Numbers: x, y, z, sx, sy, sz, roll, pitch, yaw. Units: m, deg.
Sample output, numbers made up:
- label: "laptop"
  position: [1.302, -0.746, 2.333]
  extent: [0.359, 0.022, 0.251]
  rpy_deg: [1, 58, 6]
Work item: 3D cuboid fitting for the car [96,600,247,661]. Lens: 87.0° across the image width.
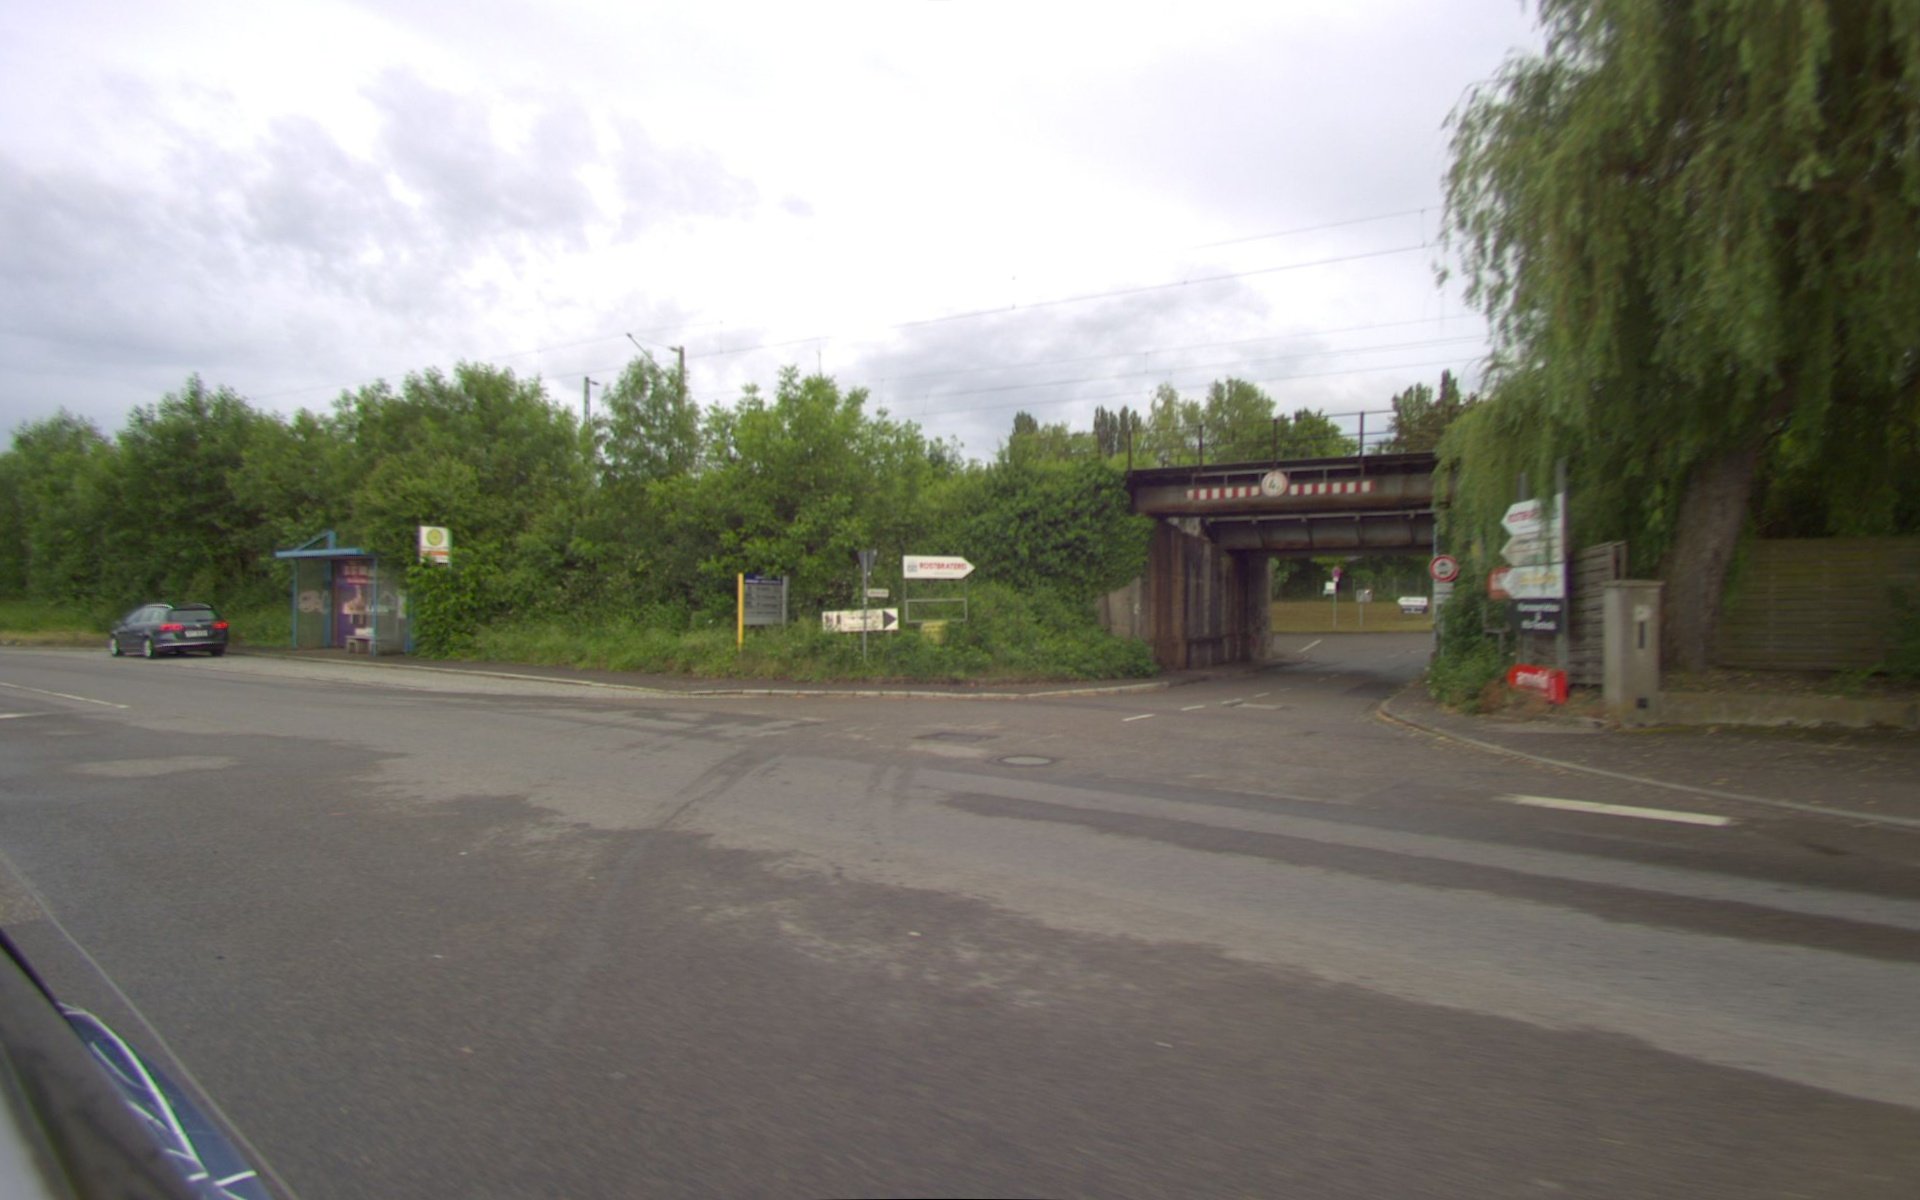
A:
- label: "car"
  position: [-22.633, 0.807, 29.010]
  extent: [4.687, 1.485, 1.978]
  rpy_deg: [1, 3, 33]
